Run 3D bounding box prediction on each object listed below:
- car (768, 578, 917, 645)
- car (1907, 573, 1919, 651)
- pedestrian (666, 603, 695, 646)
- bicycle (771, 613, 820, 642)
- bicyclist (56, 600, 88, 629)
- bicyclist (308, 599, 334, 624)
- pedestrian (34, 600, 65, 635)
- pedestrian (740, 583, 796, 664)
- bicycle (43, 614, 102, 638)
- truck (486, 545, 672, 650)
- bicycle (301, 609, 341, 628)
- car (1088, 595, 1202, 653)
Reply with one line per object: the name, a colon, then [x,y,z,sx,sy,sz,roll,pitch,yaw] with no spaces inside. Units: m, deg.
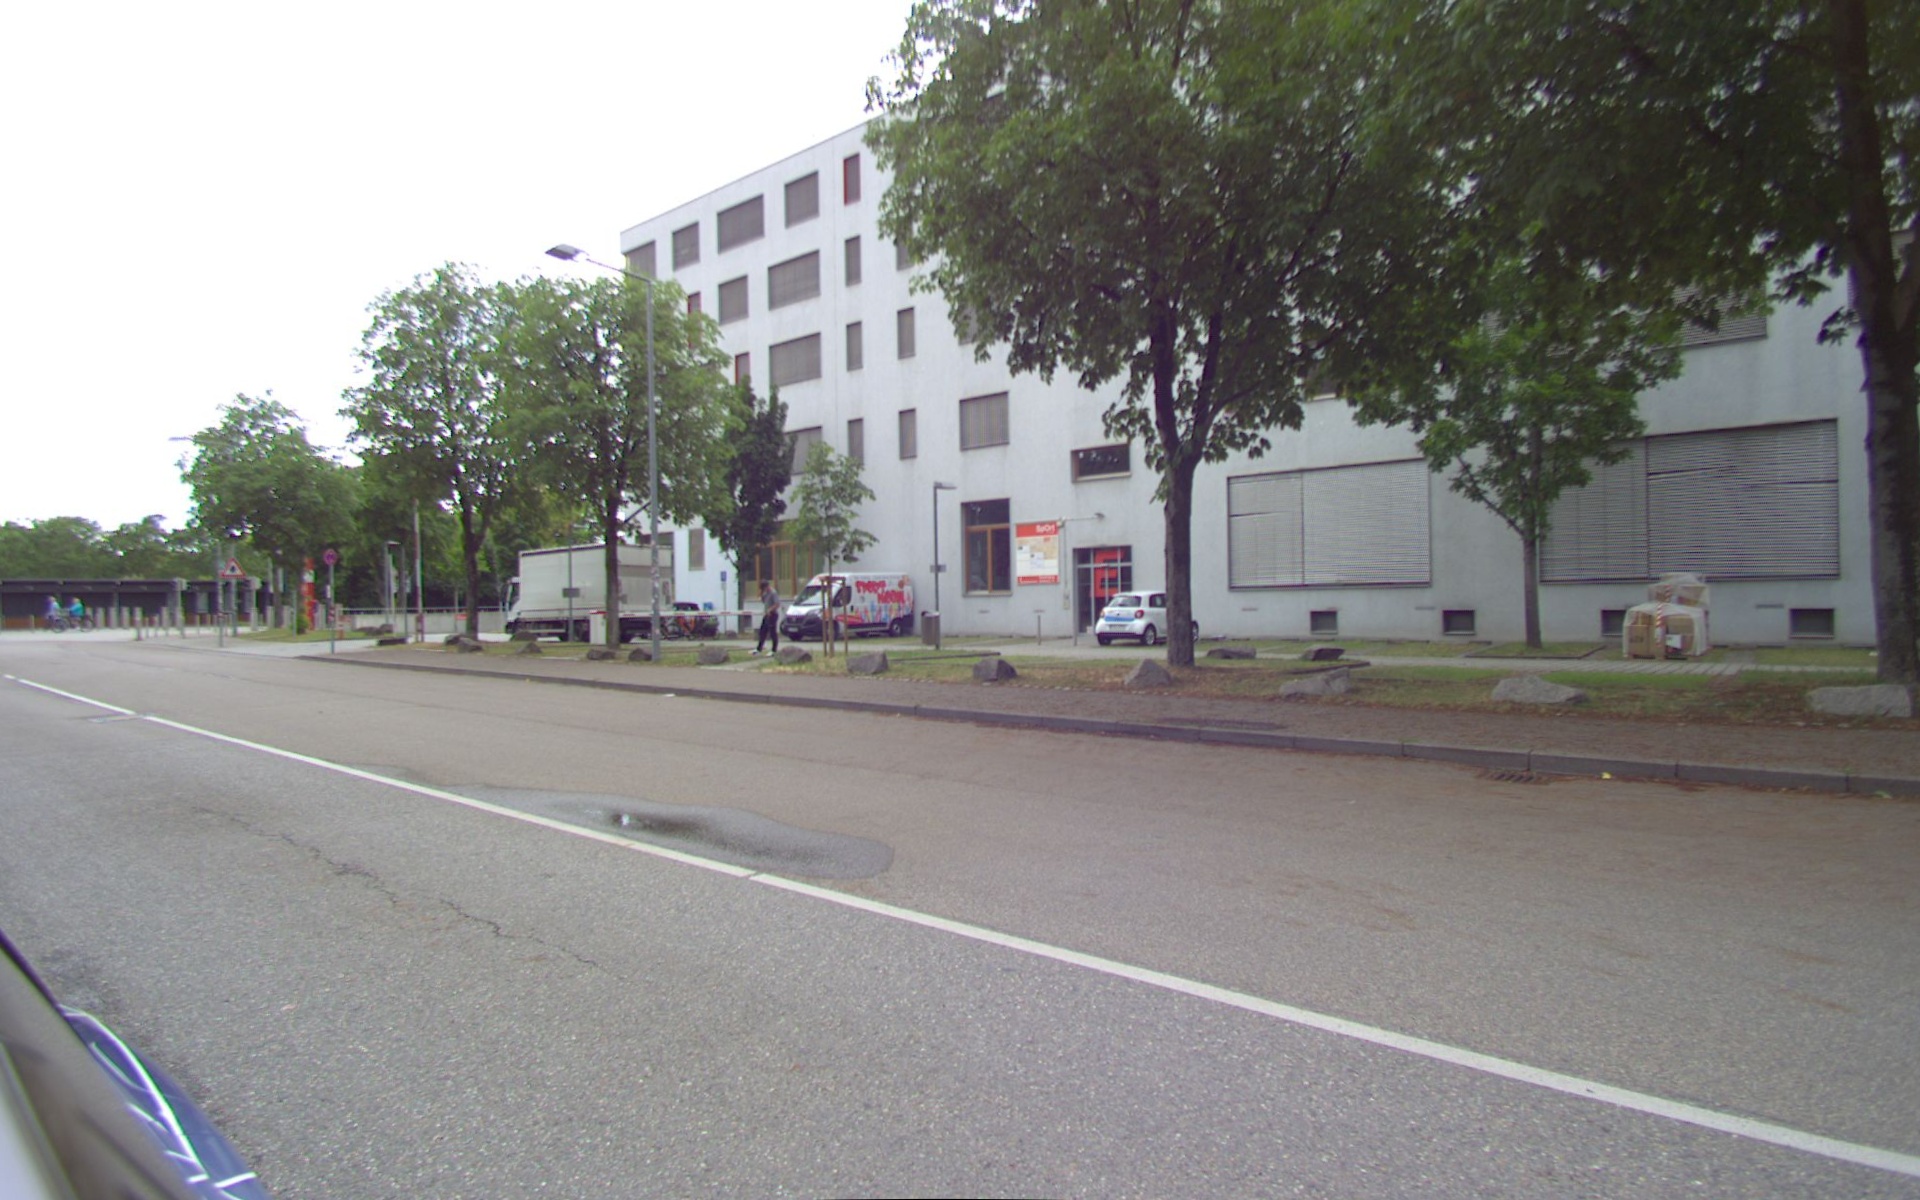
car: [-4.254,0.339,37.529,2.077,2.296,5.569,0,1,40]
car: [18.570,0.237,18.092,1.896,1.467,3.963,0,1,36]
pedestrian: [-10.799,0.935,39.081,0.885,1.618,0.672,0,1,34]
bicycle: [-6.626,1.086,40.860,0.614,1.078,2.003,0,1,44]
bicyclist: [-46.610,0.748,53.126,0.742,1.441,1.145,0,1,37]
bicyclist: [-40.616,0.712,64.292,0.924,1.507,1.090,1,2,31]
pedestrian: [-49.538,0.932,55.049,0.928,1.847,1.184,1,2,44]
pedestrian: [-4.063,0.480,21.463,0.785,1.684,0.836,0,1,35]
bicycle: [-46.602,1.347,53.143,0.747,1.131,2.230,0,1,37]
truck: [-14.561,-0.120,38.294,8.354,3.627,2.651,0,1,38]
bicycle: [-40.610,1.168,64.303,0.775,1.152,2.030,1,2,30]
car: [5.393,0.632,29.281,1.691,1.511,3.576,0,1,40]
